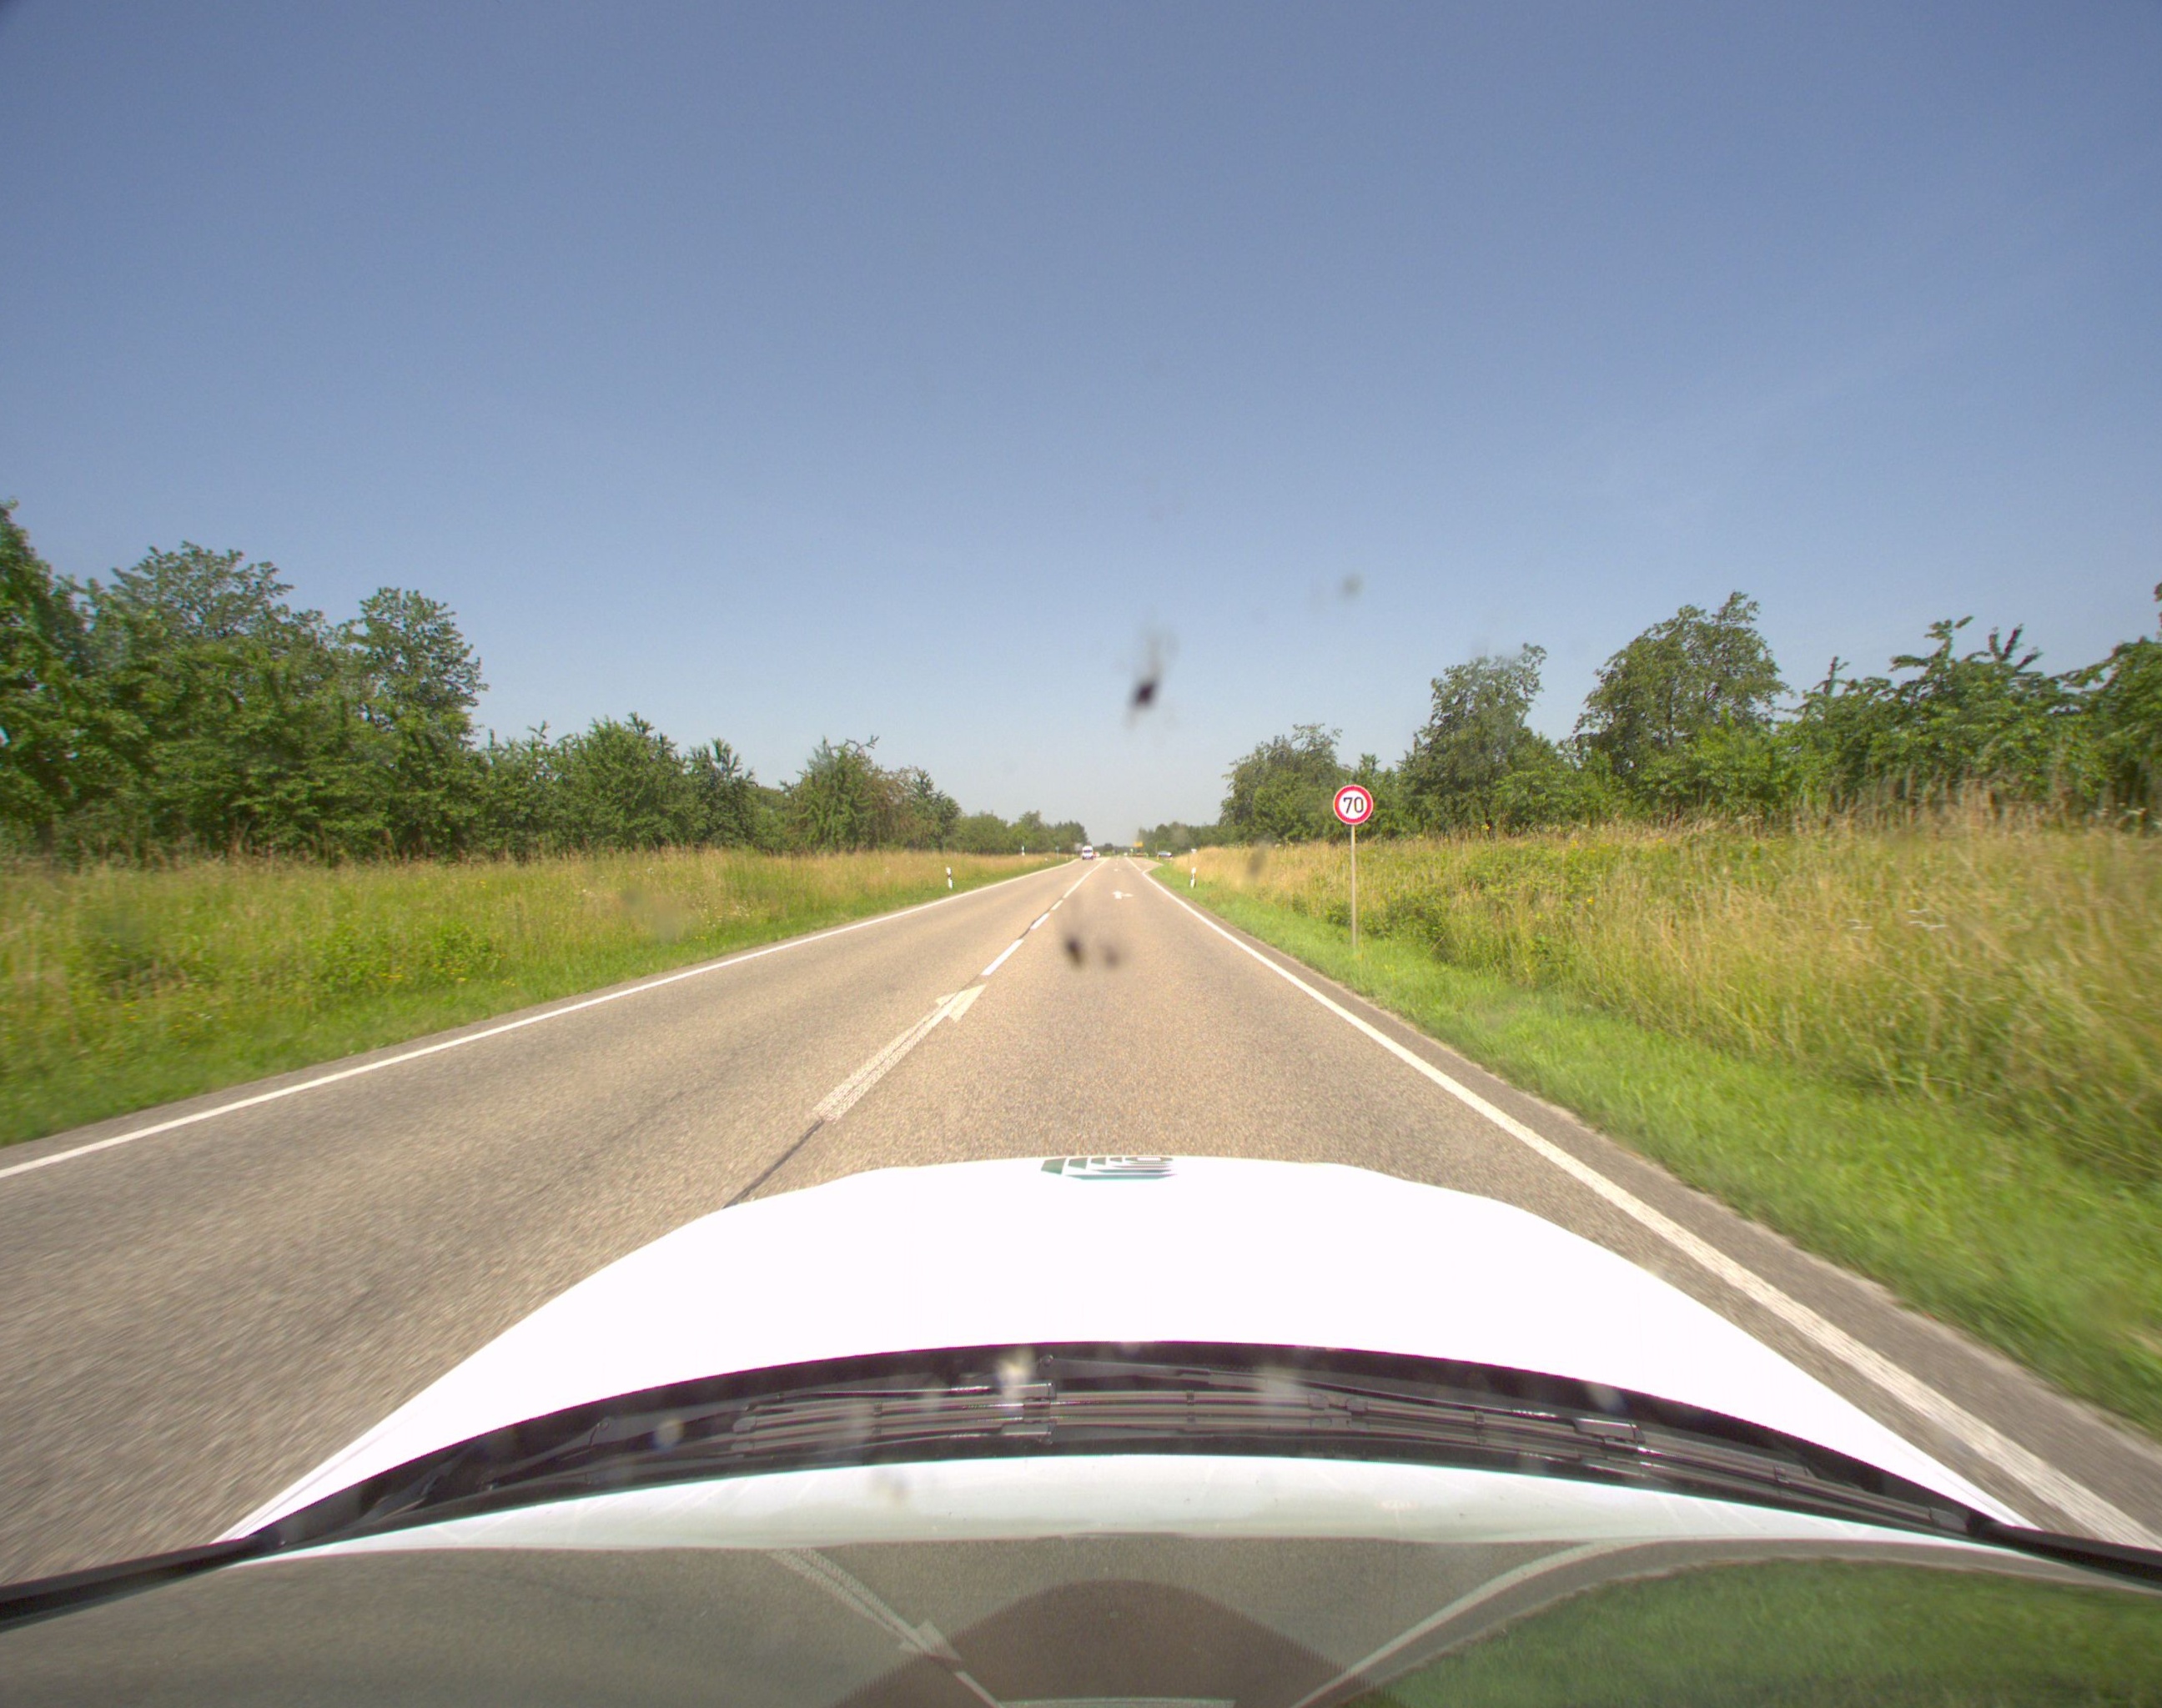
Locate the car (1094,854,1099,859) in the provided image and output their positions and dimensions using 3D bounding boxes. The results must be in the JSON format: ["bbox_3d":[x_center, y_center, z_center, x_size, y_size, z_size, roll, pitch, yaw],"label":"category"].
[{"bbox_3d":[4.998,0.879,259.044,1.669,1.494,4.137,0,0,1],"label":"car"}]

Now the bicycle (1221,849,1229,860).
[{"bbox_3d":[19.081,0.050,107.946,0.747,1.418,2.222,-2,0,2],"label":"bicycle"}]

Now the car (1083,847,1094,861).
[{"bbox_3d":[1.448,0.103,159.098,2.153,2.669,6.144,0,-1,1],"label":"car"}]

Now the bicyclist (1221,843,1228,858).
[{"bbox_3d":[19.070,-0.440,107.959,0.747,1.929,0.828,-2,0,2],"label":"bicyclist"}]
